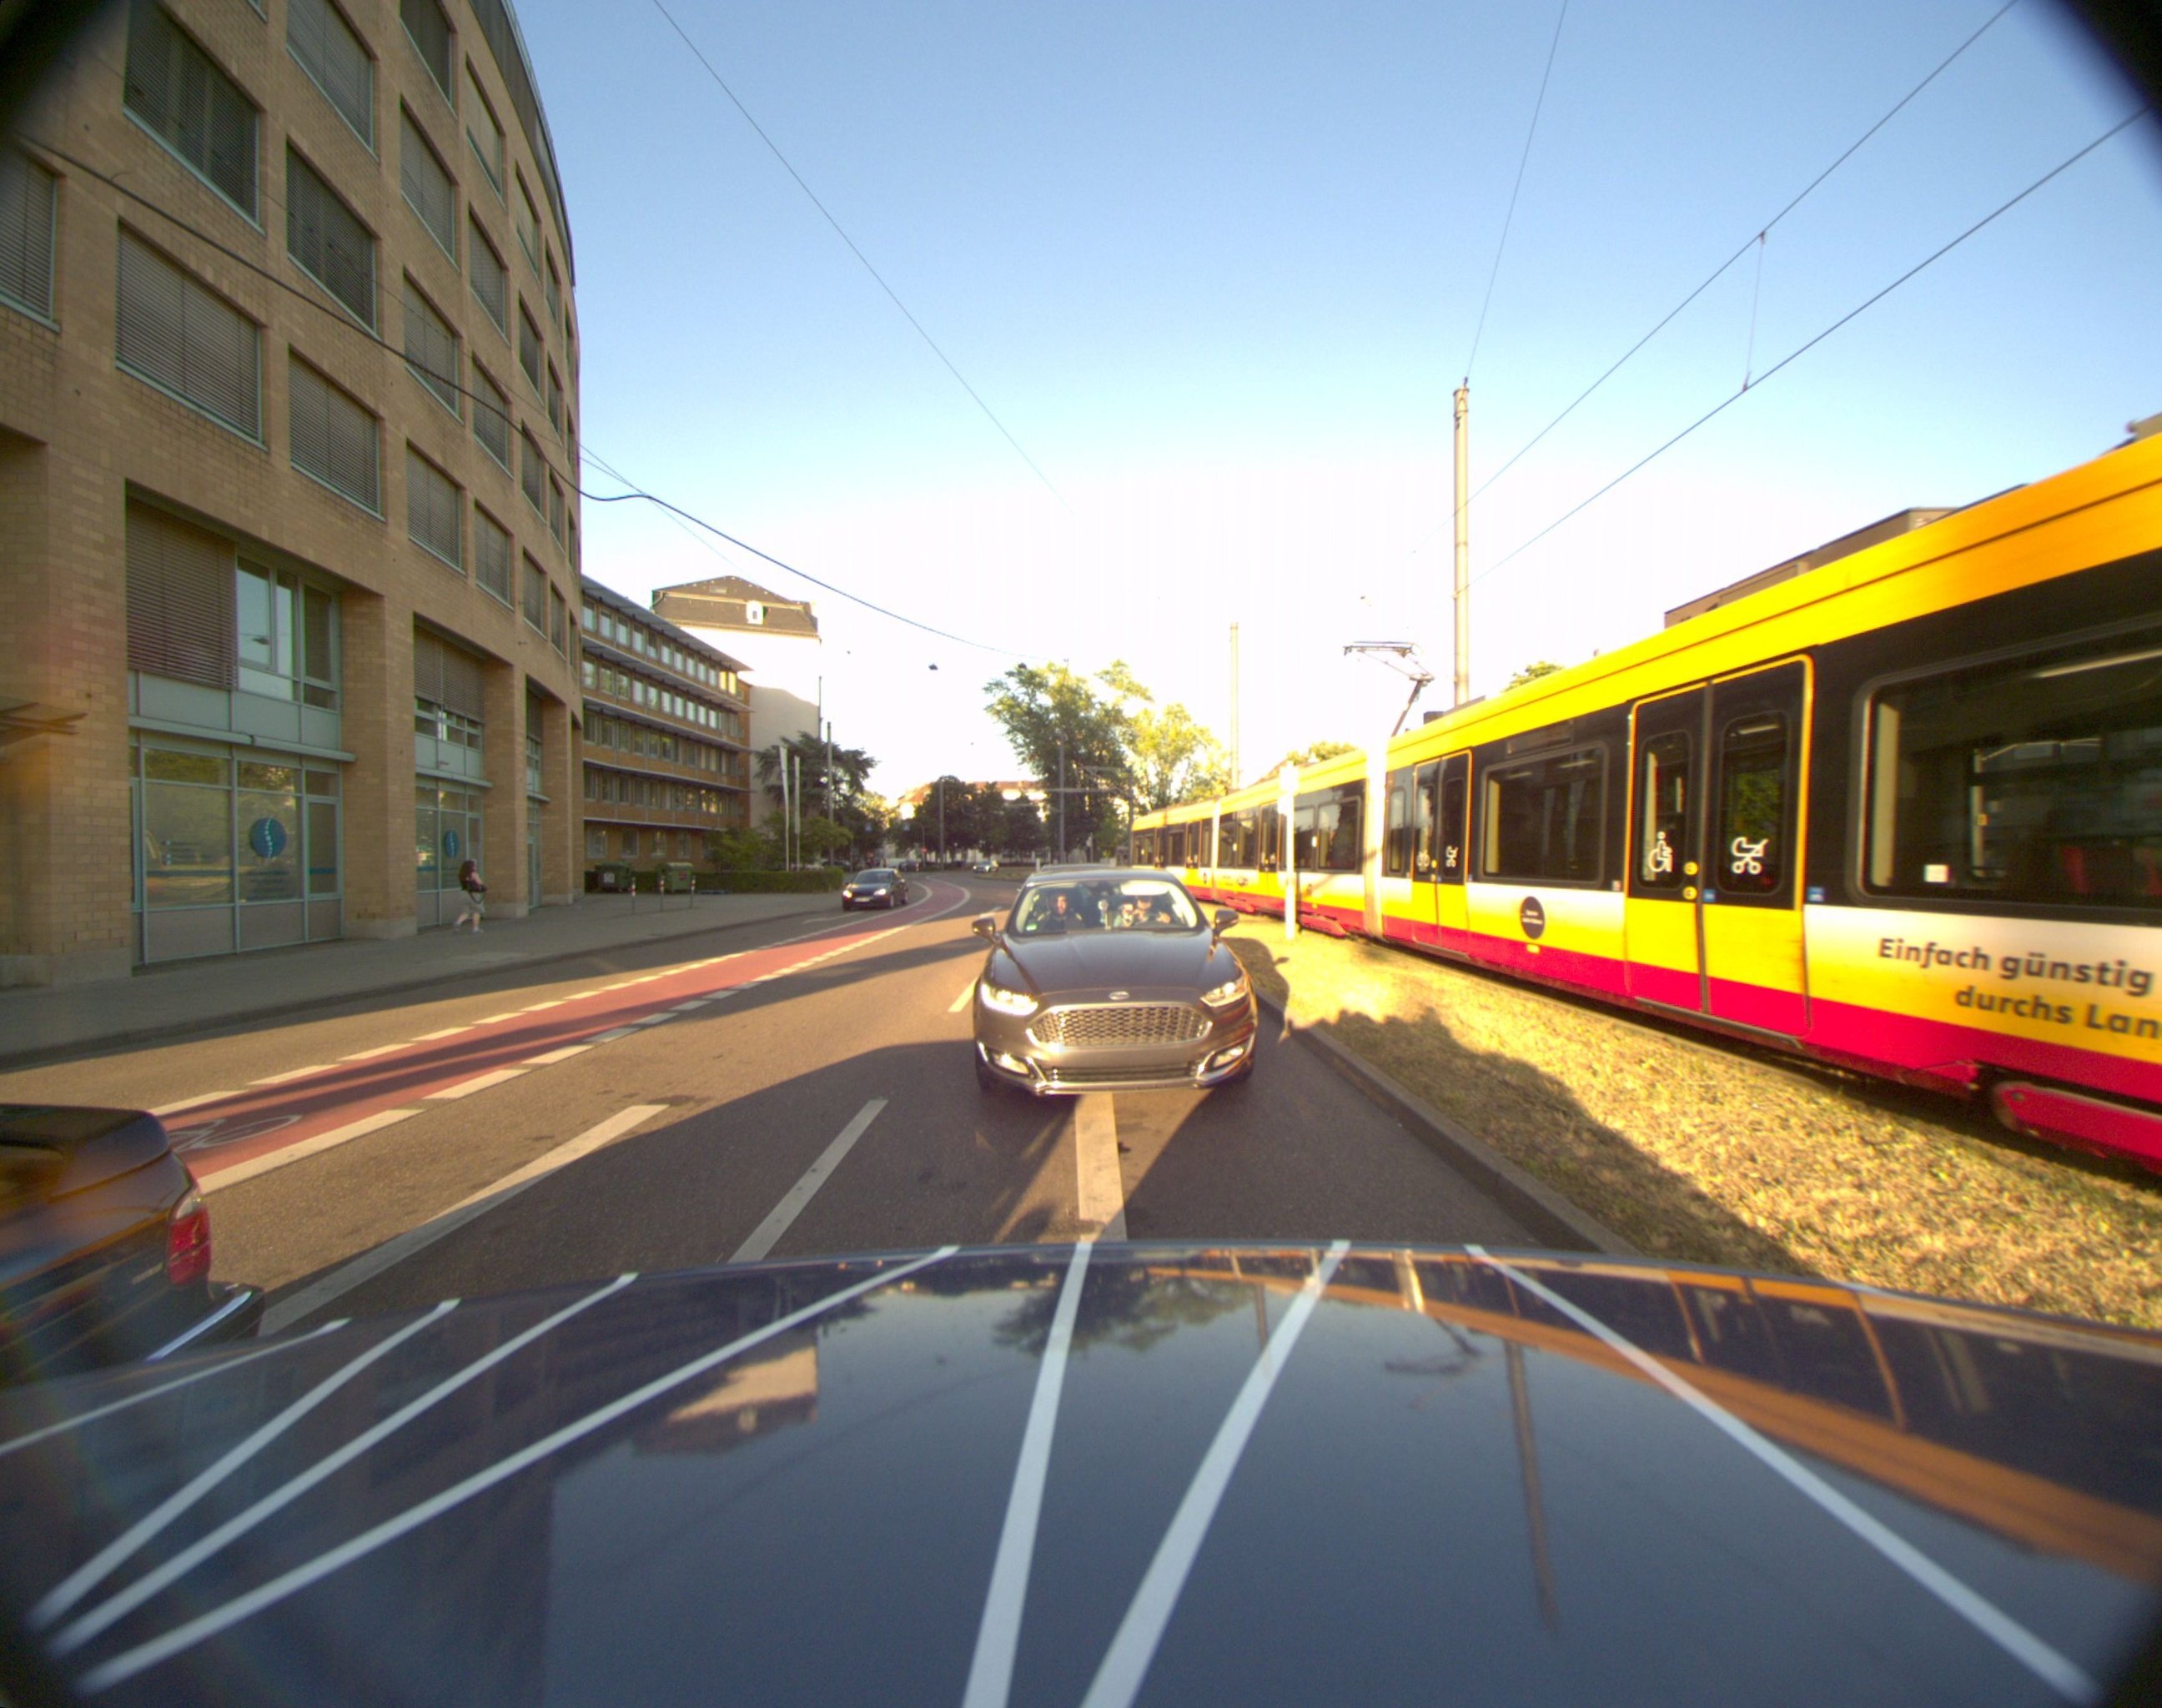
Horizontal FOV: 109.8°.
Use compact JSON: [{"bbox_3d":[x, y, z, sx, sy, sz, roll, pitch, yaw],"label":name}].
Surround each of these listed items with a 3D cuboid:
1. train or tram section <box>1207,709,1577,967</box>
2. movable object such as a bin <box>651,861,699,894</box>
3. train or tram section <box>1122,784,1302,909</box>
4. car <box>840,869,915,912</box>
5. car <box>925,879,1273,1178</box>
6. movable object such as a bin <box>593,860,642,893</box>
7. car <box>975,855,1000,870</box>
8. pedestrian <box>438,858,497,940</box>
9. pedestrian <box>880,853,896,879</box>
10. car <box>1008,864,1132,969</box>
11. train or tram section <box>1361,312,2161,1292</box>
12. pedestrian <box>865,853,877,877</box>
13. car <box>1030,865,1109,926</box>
[{"bbox_3d":[5.552,-0.254,17.147,2.885,3.717,12.180,-1,0,-3],"label":"train or tram section"},{"bbox_3d":[-18.276,1.053,34.242,1.427,1.450,1.332,-1,0,-3],"label":"movable object such as a bin"},{"bbox_3d":[4.317,-0.247,28.960,2.915,3.717,12.181,-1,0,-9],"label":"train or tram section"},{"bbox_3d":[-7.577,1.332,28.633,1.759,1.379,3.999,-1,0,-1],"label":"car"},{"bbox_3d":[0.140,1.033,6.509,1.890,1.477,4.725,0,0,1],"label":"car"},{"bbox_3d":[-21.190,1.024,34.750,1.427,1.450,1.332,-1,0,-2],"label":"movable object such as a bin"},{"bbox_3d":[-10.867,1.004,88.903,1.997,1.739,4.002,0,0,6],"label":"car"},{"bbox_3d":[-12.798,0.920,15.872,0.628,1.672,0.713,-1,1,-3],"label":"pedestrian"},{"bbox_3d":[-14.466,0.894,56.999,0.913,1.883,1.124,-1,1,-26],"label":"pedestrian"},{"bbox_3d":[-0.129,1.001,14.089,1.897,1.526,4.705,0,0,1],"label":"car"},{"bbox_3d":[5.606,-0.212,4.971,2.916,3.717,13.218,-1,0,1],"label":"train or tram section"},{"bbox_3d":[-16.070,0.849,58.153,0.728,1.797,0.724,-1,1,1],"label":"pedestrian"},{"bbox_3d":[-0.416,1.073,21.363,1.999,1.453,4.141,-1,0,-4],"label":"car"}]
